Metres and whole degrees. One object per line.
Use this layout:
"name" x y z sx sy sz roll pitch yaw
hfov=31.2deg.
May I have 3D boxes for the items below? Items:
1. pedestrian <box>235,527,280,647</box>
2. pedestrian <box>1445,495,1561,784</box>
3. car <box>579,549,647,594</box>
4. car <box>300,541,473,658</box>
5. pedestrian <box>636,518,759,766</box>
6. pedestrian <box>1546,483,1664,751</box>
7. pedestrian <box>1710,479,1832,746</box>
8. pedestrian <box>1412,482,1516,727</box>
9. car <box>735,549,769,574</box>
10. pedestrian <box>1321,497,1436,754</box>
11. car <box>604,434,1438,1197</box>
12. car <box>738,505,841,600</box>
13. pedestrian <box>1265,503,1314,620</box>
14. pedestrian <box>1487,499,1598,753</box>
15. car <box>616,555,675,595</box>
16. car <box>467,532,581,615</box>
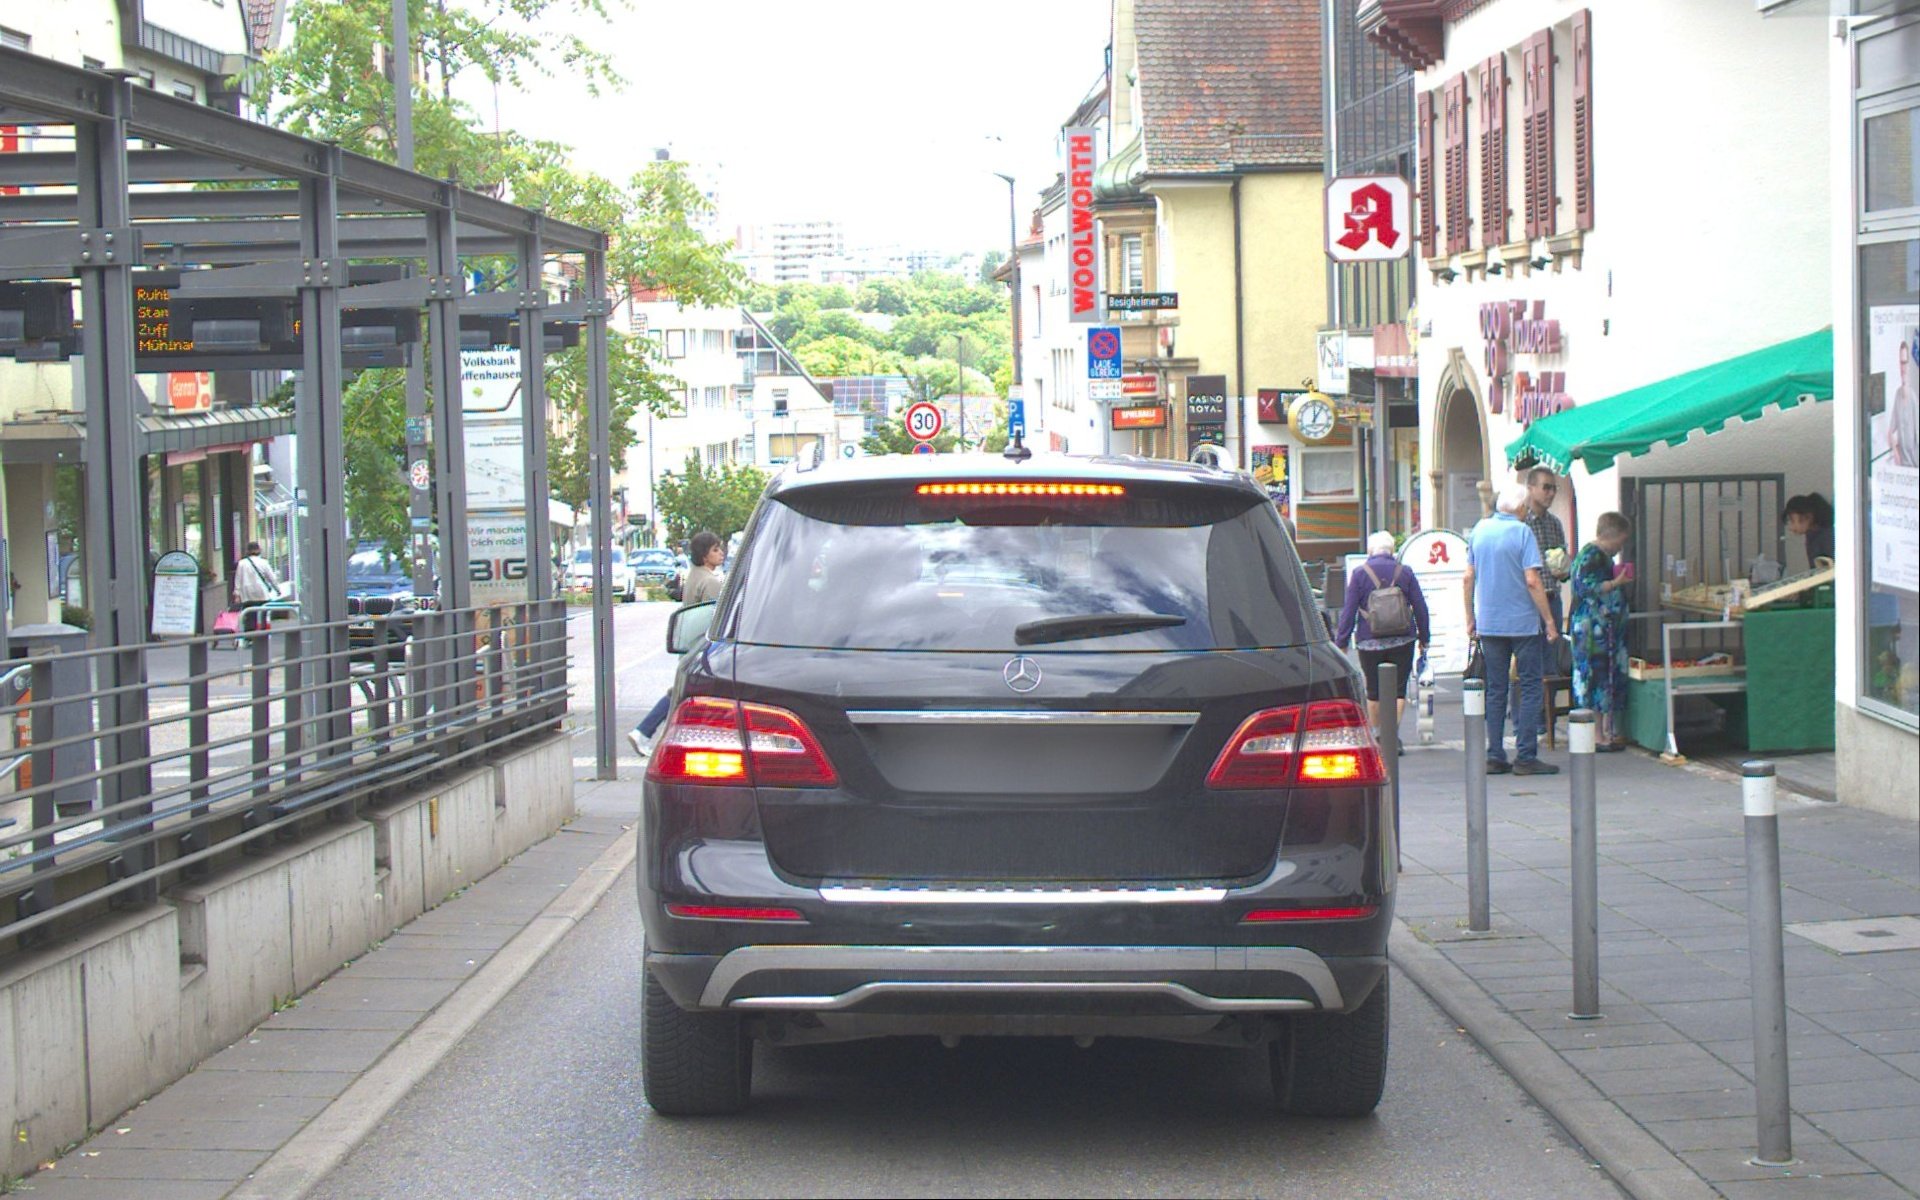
"pedestrian" -9.974 -0.190 48.814 0.513 1.683 0.541 1 1 -1
"pedestrian" 3.292 0.232 20.868 0.542 1.720 0.528 -2 1 -6
"car" -8.800 -0.734 87.286 1.388 1.066 3.113 -1 1 0
"car" -7.852 -0.042 47.328 1.689 1.484 3.979 1 1 0
"pedestrian" -1.812 0.280 23.832 0.765 1.683 0.727 1 1 1
"pedestrian" 4.135 0.101 22.060 0.573 1.683 0.566 -2 1 -6
"pedestrian" 5.231 0.073 22.197 0.573 1.683 0.566 -2 1 -6
"pedestrian" 3.775 0.025 25.793 0.639 1.803 0.685 1 1 -1
"car" -9.723 -1.807 160.984 1.388 1.066 3.113 -1 1 0
"pedestrian" 2.789 0.164 22.956 0.621 1.683 0.566 1 1 -6
"car" 0.073 0.460 9.923 1.900 1.741 4.001 1 1 -2
"car" -3.200 -0.912 65.075 1.770 1.707 4.000 1 1 -1
"pedestrian" 4.827 -0.564 50.408 0.606 1.683 0.724 -1 1 -1
"pedestrian" 3.907 0.167 23.074 0.573 1.683 0.566 1 1 -6
"car" -9.023 -0.722 98.714 1.388 1.066 3.113 -1 1 0
"car" -8.166 -0.514 64.633 1.660 1.484 3.748 1 1 0
